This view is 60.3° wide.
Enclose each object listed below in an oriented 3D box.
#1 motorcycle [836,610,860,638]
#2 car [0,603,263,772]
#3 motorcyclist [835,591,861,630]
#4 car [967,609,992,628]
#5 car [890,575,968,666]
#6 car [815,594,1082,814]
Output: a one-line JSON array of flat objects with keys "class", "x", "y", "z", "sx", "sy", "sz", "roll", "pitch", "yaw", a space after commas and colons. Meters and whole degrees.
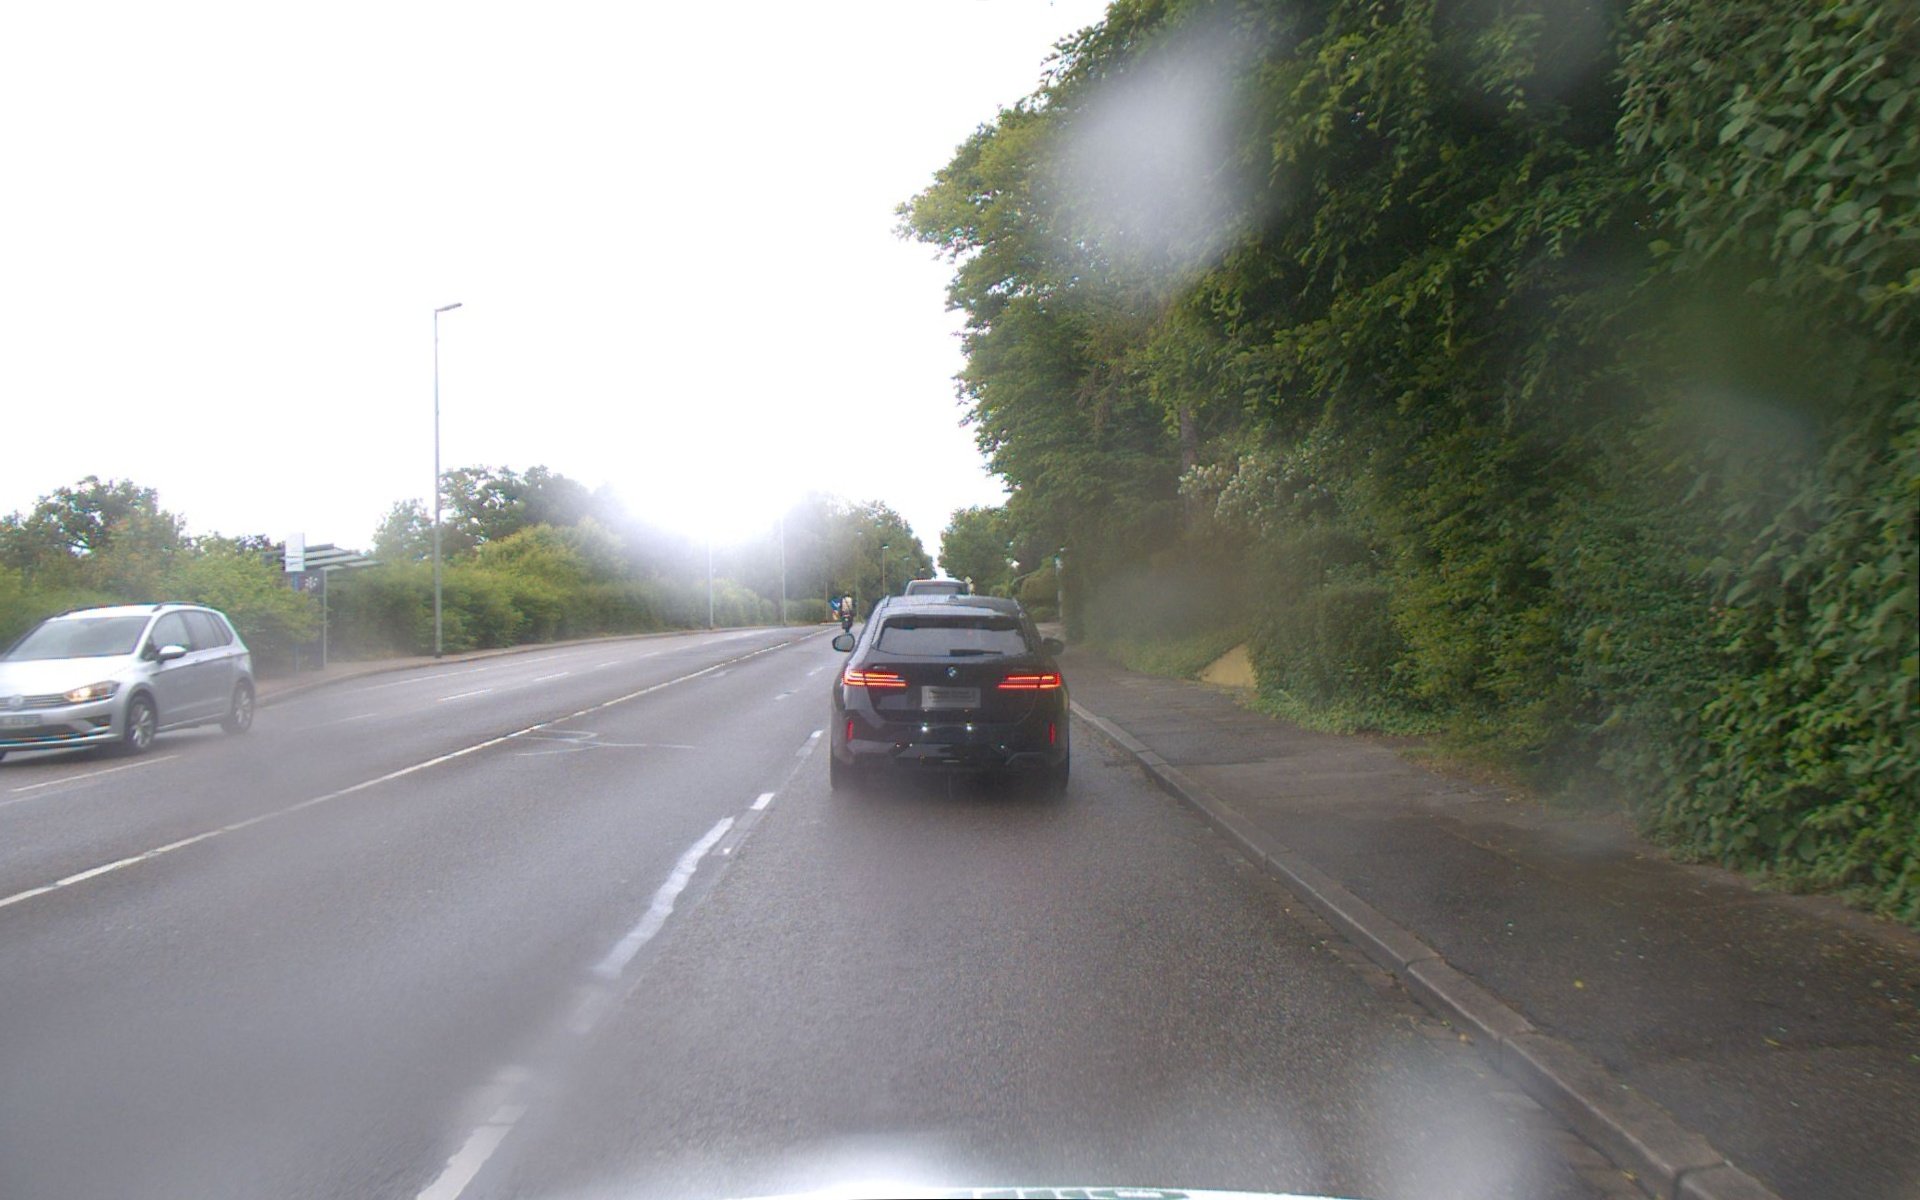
[{"class": "motorcycle", "x": -4.619, "y": 0.996, "z": 68.326, "sx": 0.858, "sy": 1.144, "sz": 2.740, "roll": 1, "pitch": -1, "yaw": -1}, {"class": "car", "x": -9.334, "y": 0.875, "z": 18.180, "sx": 1.721, "sy": 1.595, "sz": 3.998, "roll": -3, "pitch": 0, "yaw": -2}, {"class": "motorcyclist", "x": -4.601, "y": 0.446, "z": 68.195, "sx": 1.018, "sy": 1.595, "sz": 0.855, "roll": 1, "pitch": -1, "yaw": -1}, {"class": "car", "x": 1.616, "y": 1.487, "z": 134.626, "sx": 1.895, "sy": 1.467, "sz": 4.408, "roll": -1, "pitch": 0, "yaw": 2}, {"class": "car", "x": -0.688, "y": 0.432, "z": 36.893, "sx": 1.596, "sy": 1.865, "sz": 3.999, "roll": -2, "pitch": 0, "yaw": -1}, {"class": "car", "x": -0.075, "y": 0.748, "z": 13.671, "sx": 1.858, "sy": 1.515, "sz": 4.000, "roll": 1, "pitch": 0, "yaw": 0}]
